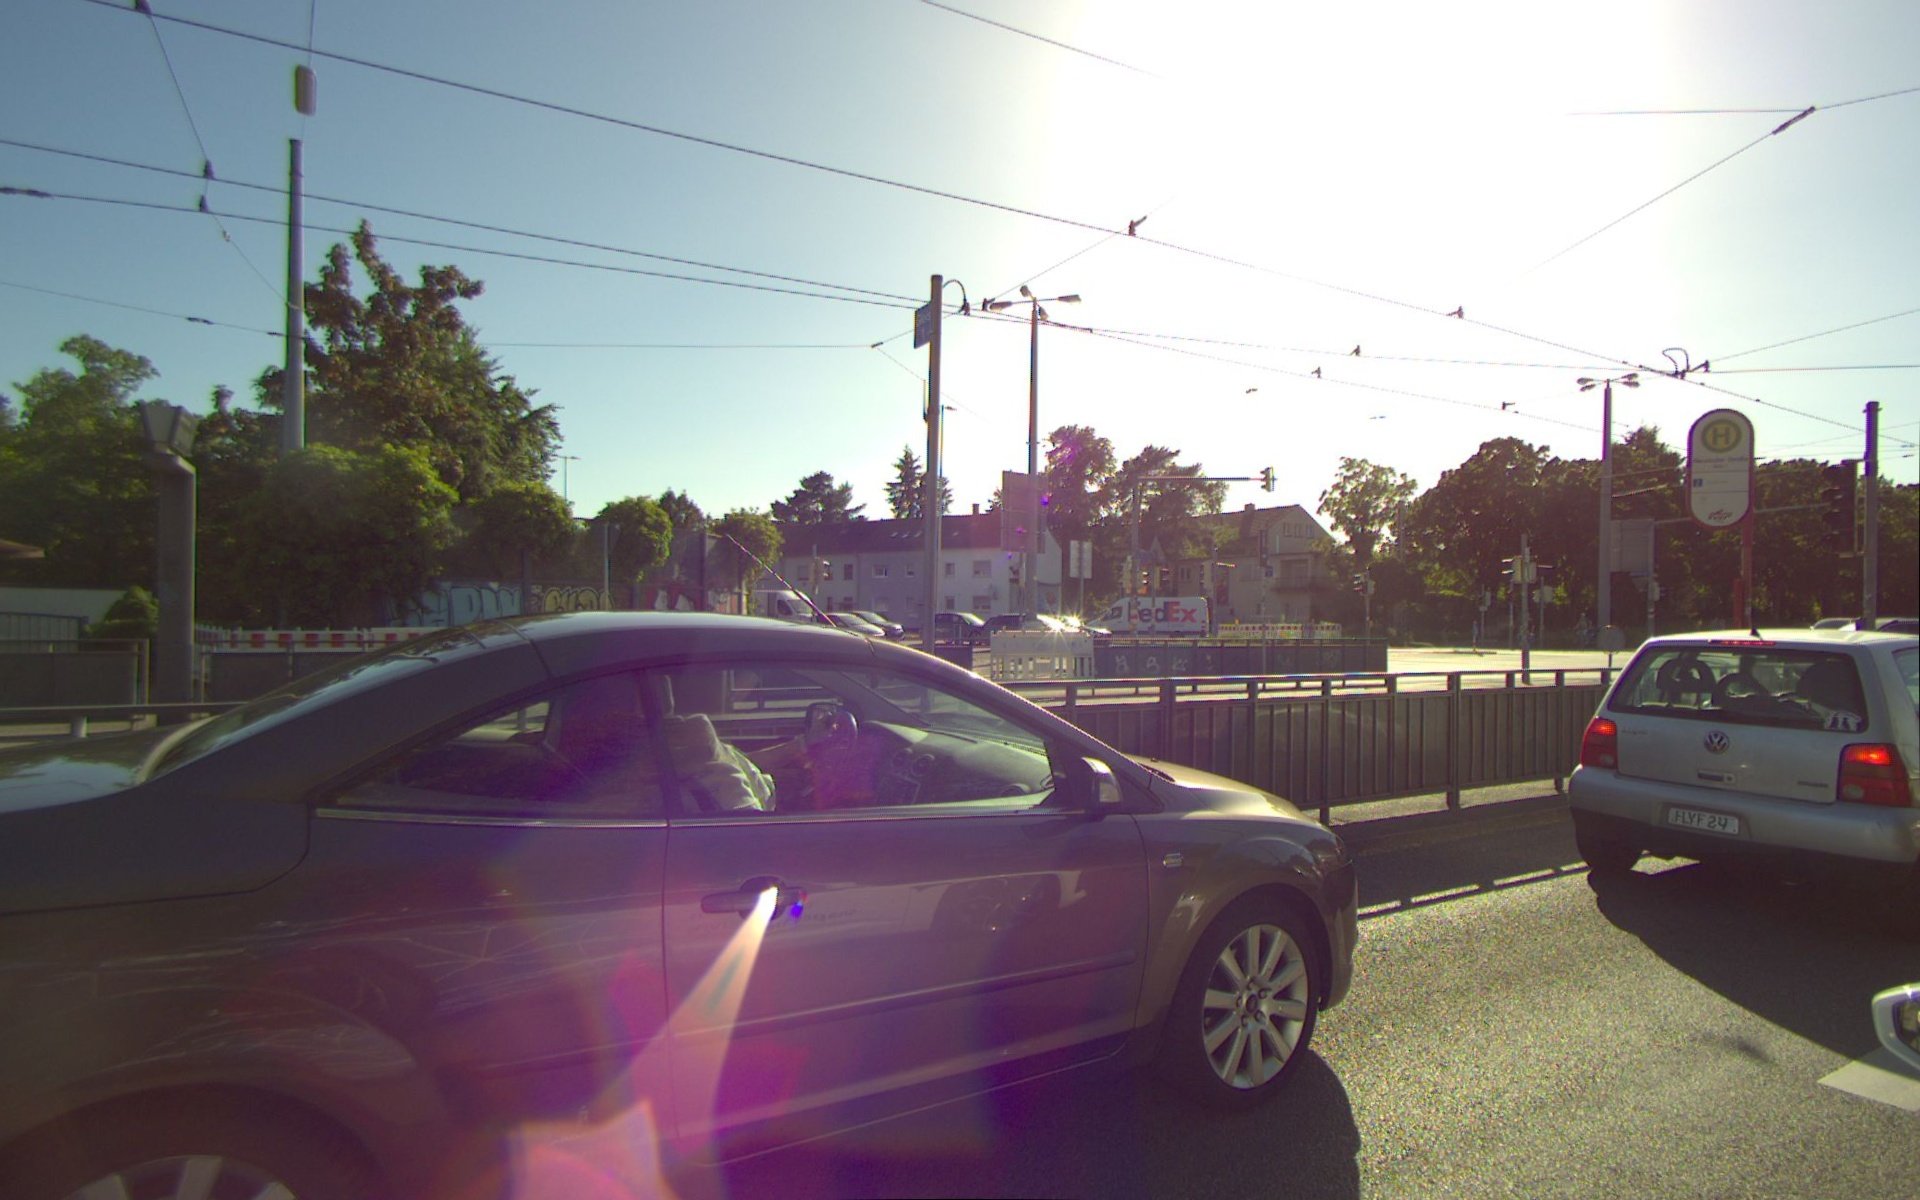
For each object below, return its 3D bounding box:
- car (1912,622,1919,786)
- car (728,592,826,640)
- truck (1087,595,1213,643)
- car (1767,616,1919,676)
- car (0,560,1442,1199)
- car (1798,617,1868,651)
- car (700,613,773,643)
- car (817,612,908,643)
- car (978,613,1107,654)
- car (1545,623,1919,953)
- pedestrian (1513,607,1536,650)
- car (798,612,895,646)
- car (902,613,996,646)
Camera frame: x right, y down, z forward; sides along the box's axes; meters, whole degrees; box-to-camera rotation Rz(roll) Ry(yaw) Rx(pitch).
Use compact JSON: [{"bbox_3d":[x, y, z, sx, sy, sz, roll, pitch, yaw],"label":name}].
[{"bbox_3d":[10.772,0.997,9.446,4.038,1.476,1.611,2,0,-31],"label":"car"},{"bbox_3d":[-9.622,0.826,52.754,4.995,2.434,2.132,0,-1,34],"label":"car"},{"bbox_3d":[10.620,1.033,56.143,6.686,2.599,2.001,0,-1,17],"label":"truck"},{"bbox_3d":[24.517,1.230,27.217,3.903,1.564,1.593,0,-1,5],"label":"car"},{"bbox_3d":[-0.692,0.707,2.955,4.284,1.469,1.766,1,-1,-31],"label":"car"},{"bbox_3d":[42.431,1.649,48.796,3.963,1.568,1.819,1,-1,-37],"label":"car"},{"bbox_3d":[-10.964,1.350,49.162,3.552,1.425,1.481,0,-1,35],"label":"car"},{"bbox_3d":[-4.766,1.322,48.893,4.212,1.451,1.788,0,-1,34],"label":"car"},{"bbox_3d":[3.174,1.277,39.208,4.754,1.517,1.781,0,-1,34],"label":"car"},{"bbox_3d":[5.200,0.884,5.960,3.312,1.436,1.611,2,-2,-31],"label":"car"},{"bbox_3d":[26.845,1.349,47.766,0.785,2.040,0.741,1,-1,-42],"label":"pedestrian"},{"bbox_3d":[-5.077,1.281,44.748,4.104,1.451,1.846,0,-1,34],"label":"car"},{"bbox_3d":[-0.525,1.312,45.809,4.104,1.451,1.589,0,-1,34],"label":"car"}]
